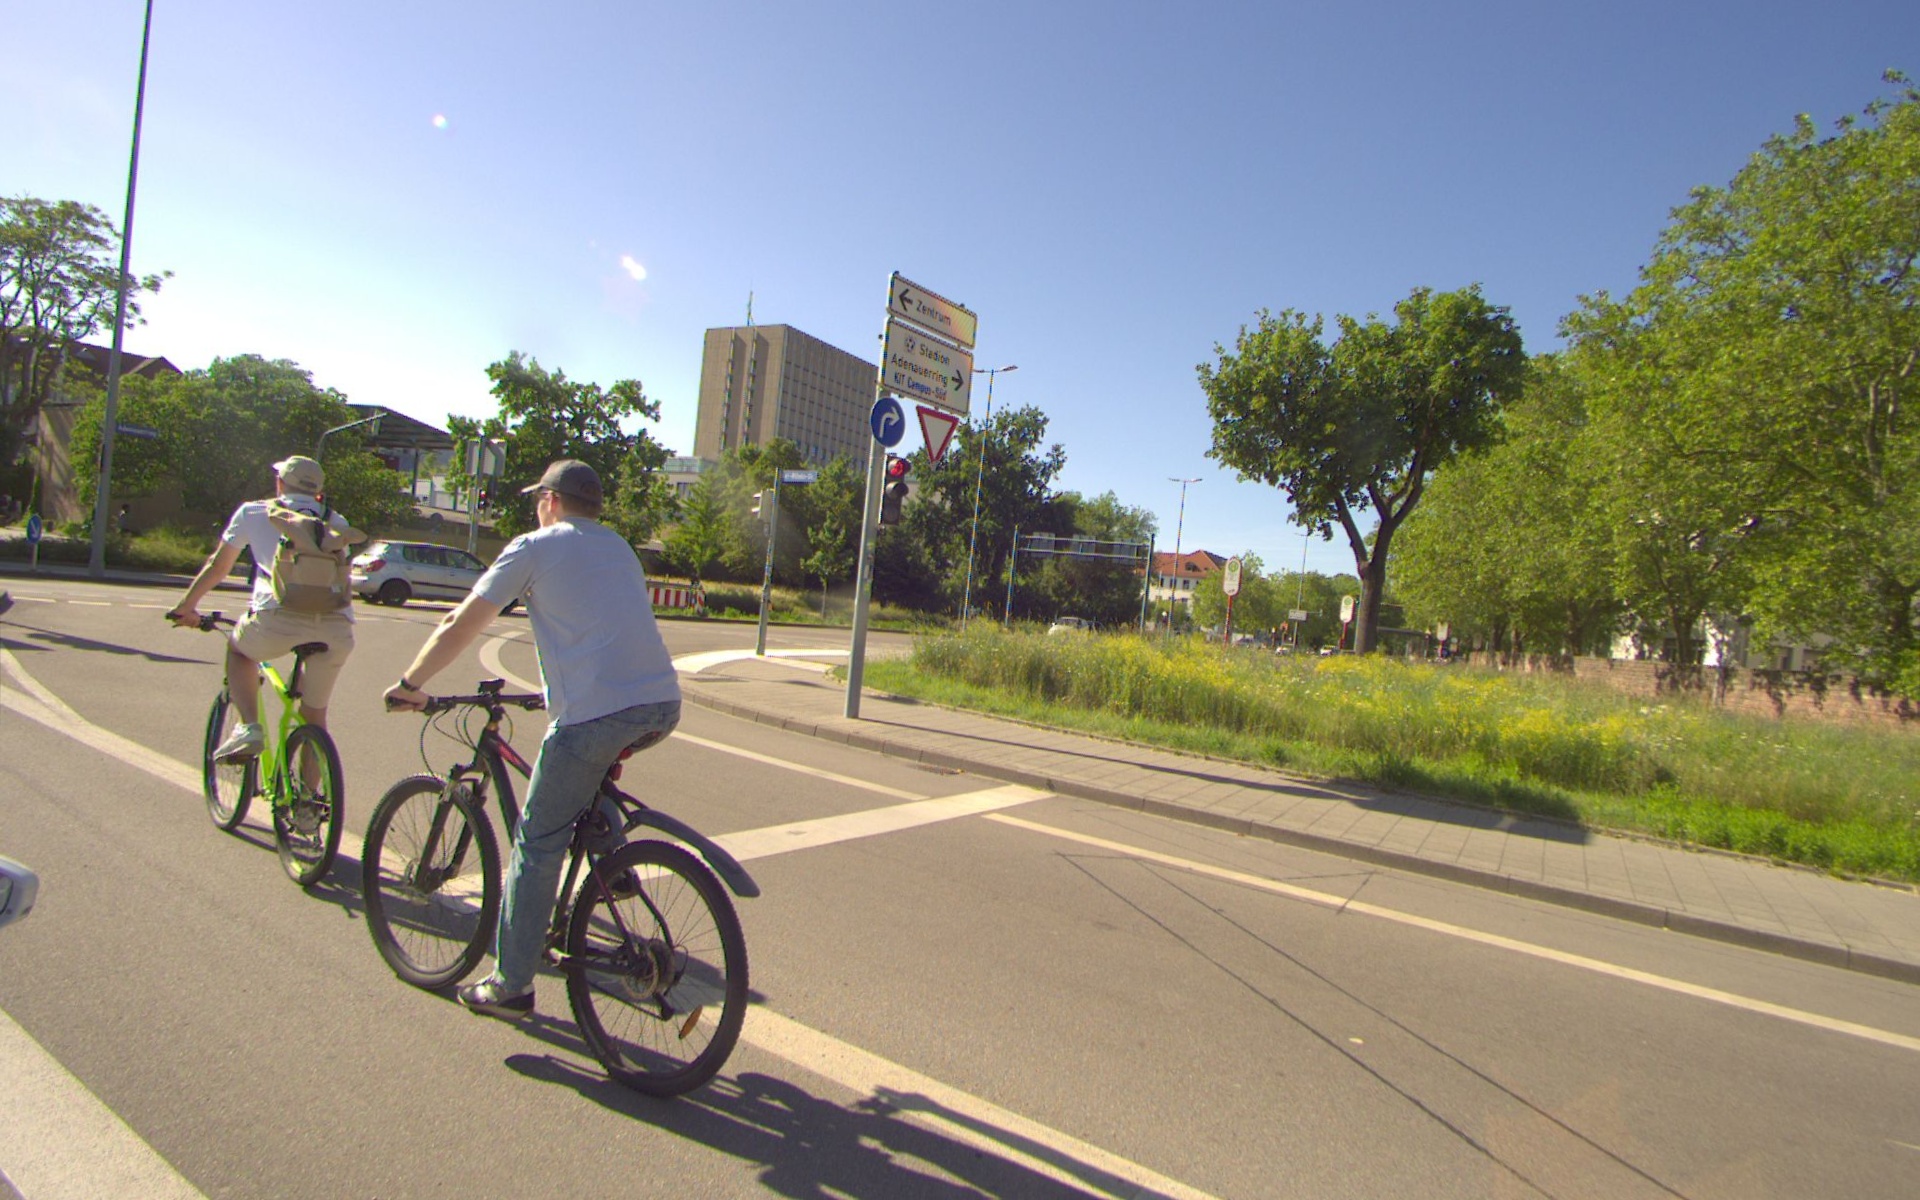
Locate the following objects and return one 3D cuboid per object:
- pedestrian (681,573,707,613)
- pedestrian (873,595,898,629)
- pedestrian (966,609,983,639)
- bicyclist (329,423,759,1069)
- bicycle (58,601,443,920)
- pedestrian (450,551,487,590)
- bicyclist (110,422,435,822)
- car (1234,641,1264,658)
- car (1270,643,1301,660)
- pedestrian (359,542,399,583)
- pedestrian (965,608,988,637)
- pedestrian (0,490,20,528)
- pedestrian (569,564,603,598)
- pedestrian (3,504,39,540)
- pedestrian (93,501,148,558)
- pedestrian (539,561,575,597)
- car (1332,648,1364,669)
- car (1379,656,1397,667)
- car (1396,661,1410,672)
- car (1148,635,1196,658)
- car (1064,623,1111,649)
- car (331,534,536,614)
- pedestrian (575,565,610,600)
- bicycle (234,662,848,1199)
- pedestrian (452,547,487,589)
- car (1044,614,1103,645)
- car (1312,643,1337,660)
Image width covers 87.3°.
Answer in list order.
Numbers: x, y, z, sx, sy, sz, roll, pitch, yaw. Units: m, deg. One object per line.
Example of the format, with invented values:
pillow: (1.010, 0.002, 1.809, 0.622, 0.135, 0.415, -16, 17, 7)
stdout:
pedestrian: (-14.698, -0.372, 55.679, 0.800, 2.106, 0.896, 7, 1, 35)
pedestrian: (-4.977, 0.819, 67.408, 0.966, 2.106, 1.186, 7, 1, 35)
pedestrian: (1.111, 1.838, 76.085, 0.633, 2.194, 0.912, 7, 1, 35)
bicyclist: (-1.290, 0.372, 3.166, 0.851, 1.695, 0.741, 7, 1, 30)
bicycle: (-3.305, 0.652, 4.640, 1.813, 1.063, 0.672, 6, -1, 31)
pedestrian: (-21.397, -1.267, 43.789, 0.865, 1.540, 1.074, 7, 1, 36)
bicyclist: (-3.124, 0.071, 4.579, 1.063, 1.601, 0.675, 7, -1, 31)
car: (32.178, 5.516, 112.040, 1.967, 1.625, 4.508, 7, 0, 32)
car: (36.323, 5.752, 112.172, 1.968, 1.625, 4.127, 7, 0, 35)
pedestrian: (-23.917, -1.535, 41.421, 0.917, 1.540, 1.083, 7, 1, 41)
pedestrian: (1.284, 1.762, 79.285, 1.065, 2.106, 1.231, 7, 1, 35)
pedestrian: (-47.048, -4.513, 49.419, 0.968, 1.763, 0.953, 7, 1, 32)
pedestrian: (-18.632, -0.957, 50.118, 0.865, 1.540, 1.144, 7, 1, 35)
pedestrian: (-46.408, -3.852, 49.699, 1.156, 1.633, 0.936, 7, 1, 32)
pedestrian: (-30.134, -2.530, 36.125, 0.953, 1.879, 1.294, 7, 1, 43)
pedestrian: (-19.275, -1.004, 48.122, 0.927, 1.540, 1.145, 7, 1, 38)
car: (32.767, 4.967, 84.898, 1.713, 1.535, 3.992, 7, 0, 31)
car: (73.324, 10.538, 172.223, 1.892, 1.625, 4.072, 7, 0, 35)
car: (84.973, 12.725, 192.860, 1.966, 1.786, 3.996, 6, -2, 30)
car: (18.311, 4.019, 86.796, 1.909, 1.613, 4.860, 7, 0, 38)
car: (9.517, 2.718, 74.759, 1.806, 1.590, 3.990, 7, 0, 33)
car: (-12.488, -0.580, 24.012, 1.867, 1.419, 3.840, 3, -4, 41)
pedestrian: (-18.120, -0.869, 49.634, 0.975, 1.540, 1.129, 7, 1, 35)
bicycle: (-1.377, 0.845, 3.191, 1.871, 1.064, 0.748, 6, 1, 30)
pedestrian: (-22.024, -1.433, 45.148, 0.912, 1.754, 0.962, 7, 1, 38)
car: (7.433, 1.915, 65.733, 1.882, 1.625, 4.124, 7, 0, 37)
car: (50.904, 7.233, 140.589, 1.968, 1.966, 4.834, 7, 0, 35)
